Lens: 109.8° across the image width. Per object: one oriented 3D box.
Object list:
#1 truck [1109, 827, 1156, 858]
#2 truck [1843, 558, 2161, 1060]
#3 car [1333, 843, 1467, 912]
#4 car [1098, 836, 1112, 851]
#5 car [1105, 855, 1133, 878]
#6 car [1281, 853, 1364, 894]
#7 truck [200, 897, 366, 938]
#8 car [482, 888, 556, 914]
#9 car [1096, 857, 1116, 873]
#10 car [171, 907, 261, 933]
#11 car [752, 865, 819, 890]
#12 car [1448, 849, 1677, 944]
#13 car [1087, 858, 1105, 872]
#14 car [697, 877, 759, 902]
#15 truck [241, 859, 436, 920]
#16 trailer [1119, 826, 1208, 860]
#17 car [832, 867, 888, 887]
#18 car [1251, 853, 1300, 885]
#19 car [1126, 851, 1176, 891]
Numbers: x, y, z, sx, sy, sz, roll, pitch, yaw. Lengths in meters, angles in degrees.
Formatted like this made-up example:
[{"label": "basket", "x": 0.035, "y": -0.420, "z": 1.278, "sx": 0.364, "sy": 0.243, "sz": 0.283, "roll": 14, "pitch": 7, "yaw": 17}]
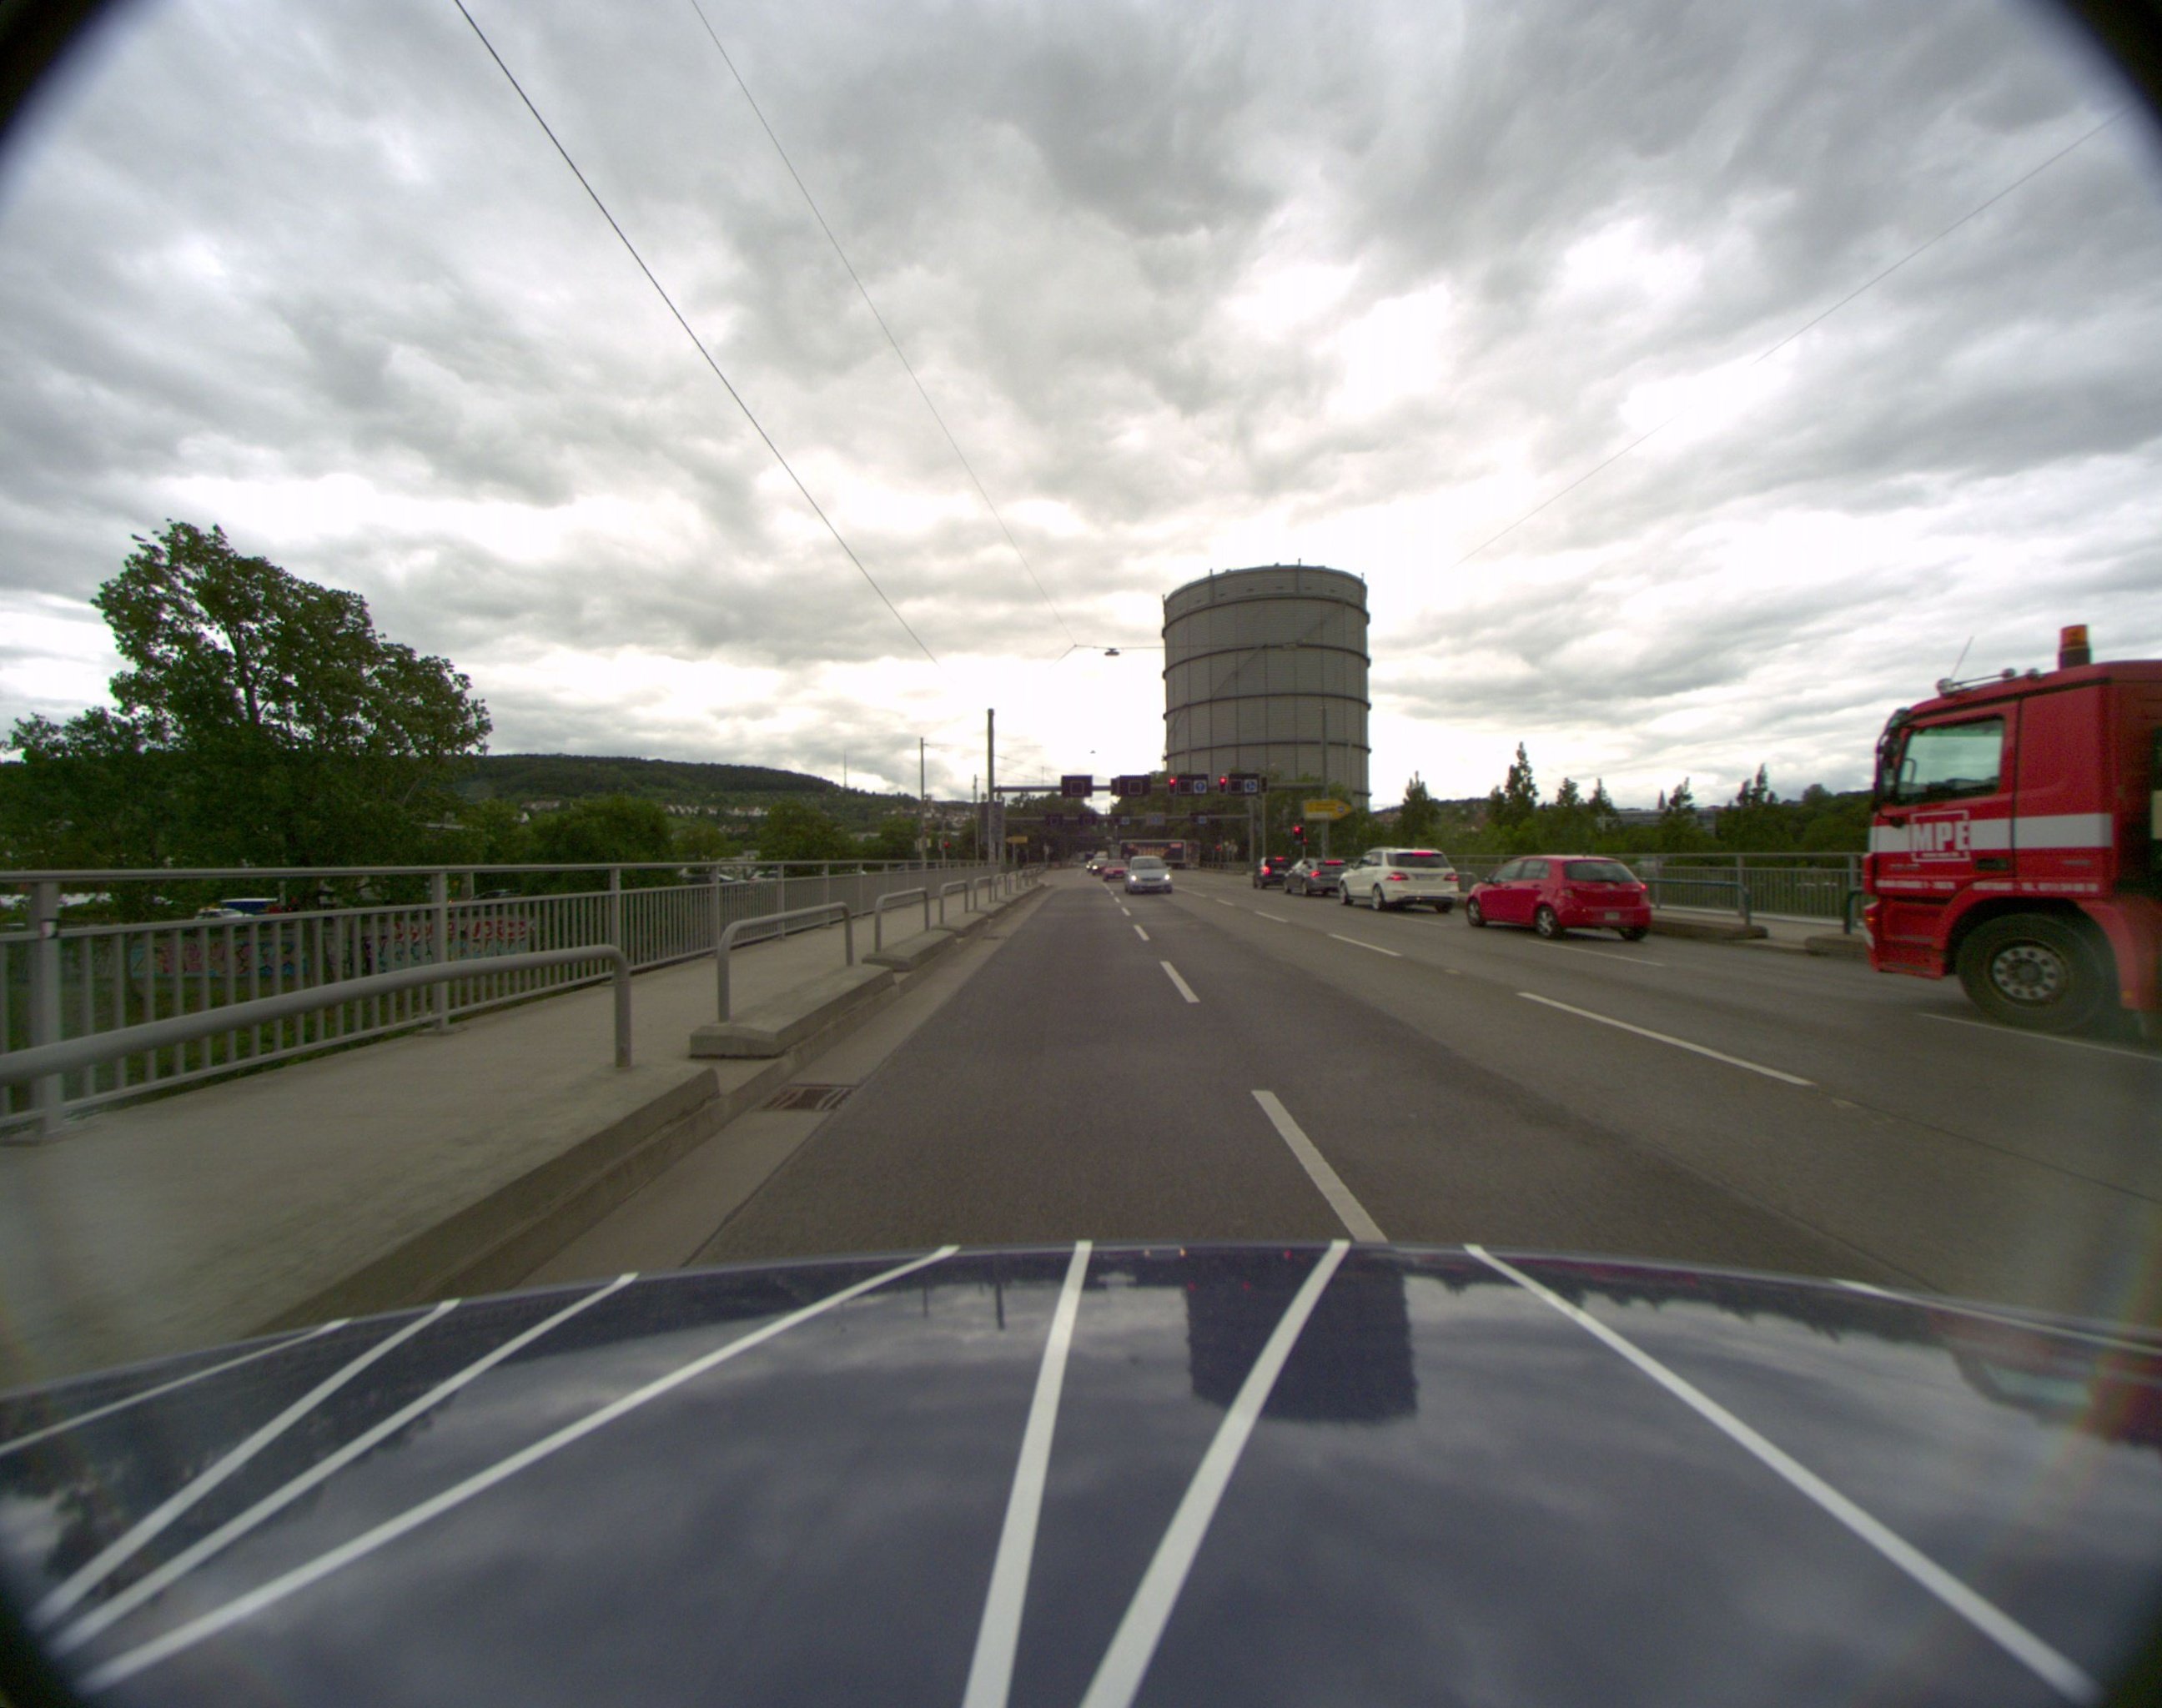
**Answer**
[{"label": "truck", "x": 7.531, "y": -1.639, "z": 111.955, "sx": 3.677, "sy": 4.296, "sz": 7.219, "roll": 2, "pitch": 0, "yaw": -26}, {"label": "truck", "x": 9.113, "y": -0.320, "z": 2.613, "sx": 3.013, "sy": 3.545, "sz": 9.982, "roll": 0, "pitch": 0, "yaw": 0}, {"label": "car", "x": 8.948, "y": 0.605, "z": 21.822, "sx": 1.884, "sy": 1.751, "sz": 4.802, "roll": 0, "pitch": 0, "yaw": 0}, {"label": "car", "x": 4.265, "y": -1.828, "z": 136.788, "sx": 2.331, "sy": 2.509, "sz": 4.949, "roll": 1, "pitch": 0, "yaw": 1}, {"label": "car", "x": 2.523, "y": 0.831, "z": 50.809, "sx": 1.747, "sy": 1.455, "sz": 3.956, "roll": 0, "pitch": 0, "yaw": 2}, {"label": "car", "x": 9.388, "y": 0.718, "z": 29.911, "sx": 1.840, "sy": 1.495, "sz": 4.517, "roll": 0, "pitch": 0, "yaw": 0}, {"label": "truck", "x": -86.813, "y": 6.853, "z": 82.826, "sx": 14.417, "sy": 3.893, "sz": 3.381, "roll": 1, "pitch": 0, "yaw": 0}, {"label": "car", "x": -40.862, "y": 3.423, "z": 55.291, "sx": 4.045, "sy": 1.531, "sz": 1.695, "roll": -3, "pitch": 1, "yaw": -1}, {"label": "car", "x": 2.263, "y": 0.988, "z": 69.255, "sx": 1.696, "sy": 1.411, "sz": 4.468, "roll": -1, "pitch": 0, "yaw": 1}, {"label": "car", "x": -64.981, "y": 4.937, "z": 57.133, "sx": 4.390, "sy": 1.531, "sz": 1.921, "roll": -3, "pitch": 1, "yaw": -1}, {"label": "car", "x": -22.880, "y": 1.819, "z": 58.920, "sx": 4.339, "sy": 1.610, "sz": 1.999, "roll": -3, "pitch": 2, "yaw": 0}, {"label": "car", "x": 9.003, "y": 0.714, "z": 14.680, "sx": 1.884, "sy": 1.593, "sz": 4.015, "roll": 0, "pitch": 0, "yaw": 0}, {"label": "car", "x": 1.669, "y": 1.198, "z": 81.775, "sx": 1.696, "sy": 1.412, "sz": 4.469, "roll": 1, "pitch": 0, "yaw": 4}, {"label": "car", "x": -26.016, "y": 2.617, "z": 56.066, "sx": 3.757, "sy": 1.531, "sz": 1.695, "roll": -3, "pitch": 1, "yaw": -1}, {"label": "truck", "x": -53.398, "y": 2.511, "z": 54.902, "sx": 10.423, "sy": 3.856, "sz": 3.226, "roll": -2, "pitch": 0, "yaw": -3}, {"label": "trailer", "x": 11.316, "y": -1.560, "z": 106.585, "sx": 3.679, "sy": 4.296, "sz": 13.742, "roll": 2, "pitch": 0, "yaw": -38}, {"label": "car", "x": -17.225, "y": 1.762, "z": 59.259, "sx": 3.762, "sy": 1.306, "sz": 1.790, "roll": -3, "pitch": 2, "yaw": -1}, {"label": "car", "x": 9.614, "y": 0.724, "z": 37.754, "sx": 1.839, "sy": 1.495, "sz": 3.873, "roll": 0, "pitch": 0, "yaw": 6}, {"label": "car", "x": 2.908, "y": 0.696, "z": 32.211, "sx": 1.747, "sy": 1.594, "sz": 3.682, "roll": 0, "pitch": 0, "yaw": 0}]
